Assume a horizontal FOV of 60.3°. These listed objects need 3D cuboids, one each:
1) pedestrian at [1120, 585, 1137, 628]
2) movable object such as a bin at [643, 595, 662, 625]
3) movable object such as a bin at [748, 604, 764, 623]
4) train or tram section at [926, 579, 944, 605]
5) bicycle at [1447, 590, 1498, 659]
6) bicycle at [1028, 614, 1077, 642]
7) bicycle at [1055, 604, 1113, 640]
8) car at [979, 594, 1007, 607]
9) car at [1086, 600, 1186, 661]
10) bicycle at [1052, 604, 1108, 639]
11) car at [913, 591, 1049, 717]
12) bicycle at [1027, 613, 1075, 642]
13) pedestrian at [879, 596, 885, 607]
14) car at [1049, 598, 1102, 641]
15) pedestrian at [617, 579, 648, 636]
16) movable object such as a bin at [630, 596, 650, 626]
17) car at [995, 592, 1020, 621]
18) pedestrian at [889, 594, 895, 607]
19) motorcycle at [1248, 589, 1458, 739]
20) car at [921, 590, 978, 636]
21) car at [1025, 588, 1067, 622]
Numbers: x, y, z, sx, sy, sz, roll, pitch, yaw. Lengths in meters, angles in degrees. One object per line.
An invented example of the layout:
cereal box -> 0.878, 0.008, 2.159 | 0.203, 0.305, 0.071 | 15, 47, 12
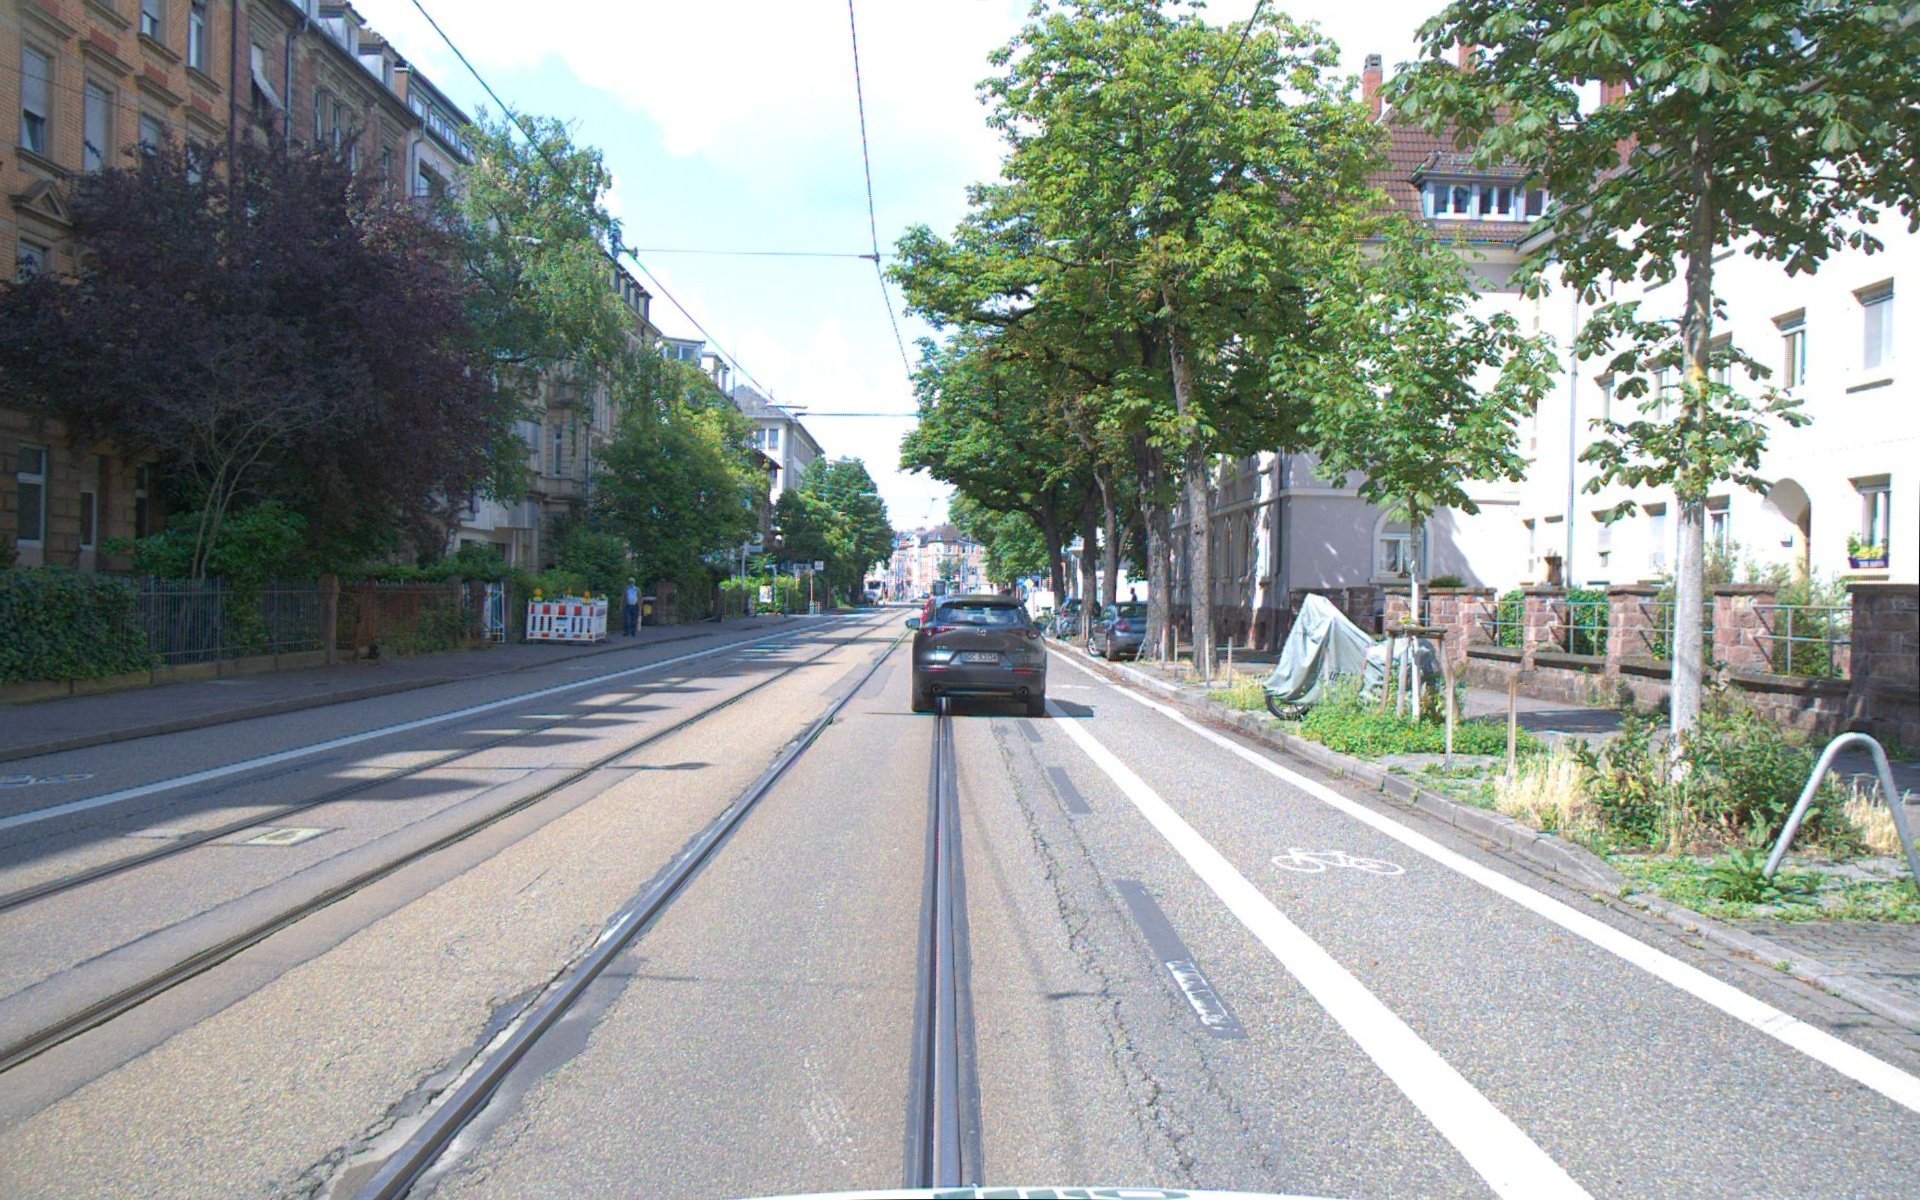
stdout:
pedestrian -> 7.374, 0.298, 72.458 | 0.598, 1.868, 0.878 | 1, -2, -3
movable object such as a bin -> -11.804, 0.388, 63.500 | 0.526, 1.113, 0.790 | 1, 0, 4
movable object such as a bin -> -11.112, 0.725, 90.049 | 0.730, 1.005, 1.114 | 3, 0, -1
train or tram section -> -3.881, -1.244, 255.539 | 2.519, 3.838, 13.025 | 1, 0, 0
bicycle -> 9.551, 0.441, 30.848 | 0.403, 1.233, 1.704 | 1, 0, 0
bicycle -> 3.629, 1.096, 64.837 | 1.864, 1.091, 0.402 | 1, 0, -1
bicycle -> 4.145, 0.733, 55.252 | 1.895, 1.196, 0.513 | 0, -1, 11
car -> 4.811, 0.112, 243.540 | 3.748, 1.646, 1.629 | 3, 0, -19
car -> 4.461, 0.745, 42.467 | 1.810, 1.434, 4.391 | -1, 0, -4
bicycle -> 4.063, 0.732, 55.874 | 1.853, 1.196, 0.513 | 0, -1, 11
car -> 0.234, 0.678, 22.570 | 1.686, 1.553, 3.589 | 1, 0, -1
bicycle -> 3.602, 1.085, 65.329 | 1.864, 1.091, 0.402 | 1, 0, -1
pedestrian -> -10.933, 0.244, 231.975 | 0.736, 1.537, 0.823 | 1, 0, -5
car -> 4.177, 0.693, 60.450 | 1.632, 1.455, 3.765 | -1, 0, 0
pedestrian -> -10.097, 0.228, 51.006 | 0.806, 1.736, 0.891 | 1, 0, -4
movable object such as a bin -> -12.312, 0.426, 63.657 | 0.537, 1.127, 0.790 | 1, 0, 4
car -> 3.393, 0.466, 118.446 | 1.685, 2.003, 4.207 | 1, 0, 0
pedestrian -> -10.575, 0.068, 256.463 | 0.867, 2.049, 0.617 | 1, 0, -5
motorcycle -> 4.697, 0.727, 19.872 | 2.342, 1.625, 0.675 | 3, 1, 38
car -> -0.414, 0.471, 61.498 | 1.953, 1.555, 3.999 | 3, 0, -1
car -> 5.241, 0.286, 101.816 | 1.753, 1.972, 4.984 | 1, 0, -7
